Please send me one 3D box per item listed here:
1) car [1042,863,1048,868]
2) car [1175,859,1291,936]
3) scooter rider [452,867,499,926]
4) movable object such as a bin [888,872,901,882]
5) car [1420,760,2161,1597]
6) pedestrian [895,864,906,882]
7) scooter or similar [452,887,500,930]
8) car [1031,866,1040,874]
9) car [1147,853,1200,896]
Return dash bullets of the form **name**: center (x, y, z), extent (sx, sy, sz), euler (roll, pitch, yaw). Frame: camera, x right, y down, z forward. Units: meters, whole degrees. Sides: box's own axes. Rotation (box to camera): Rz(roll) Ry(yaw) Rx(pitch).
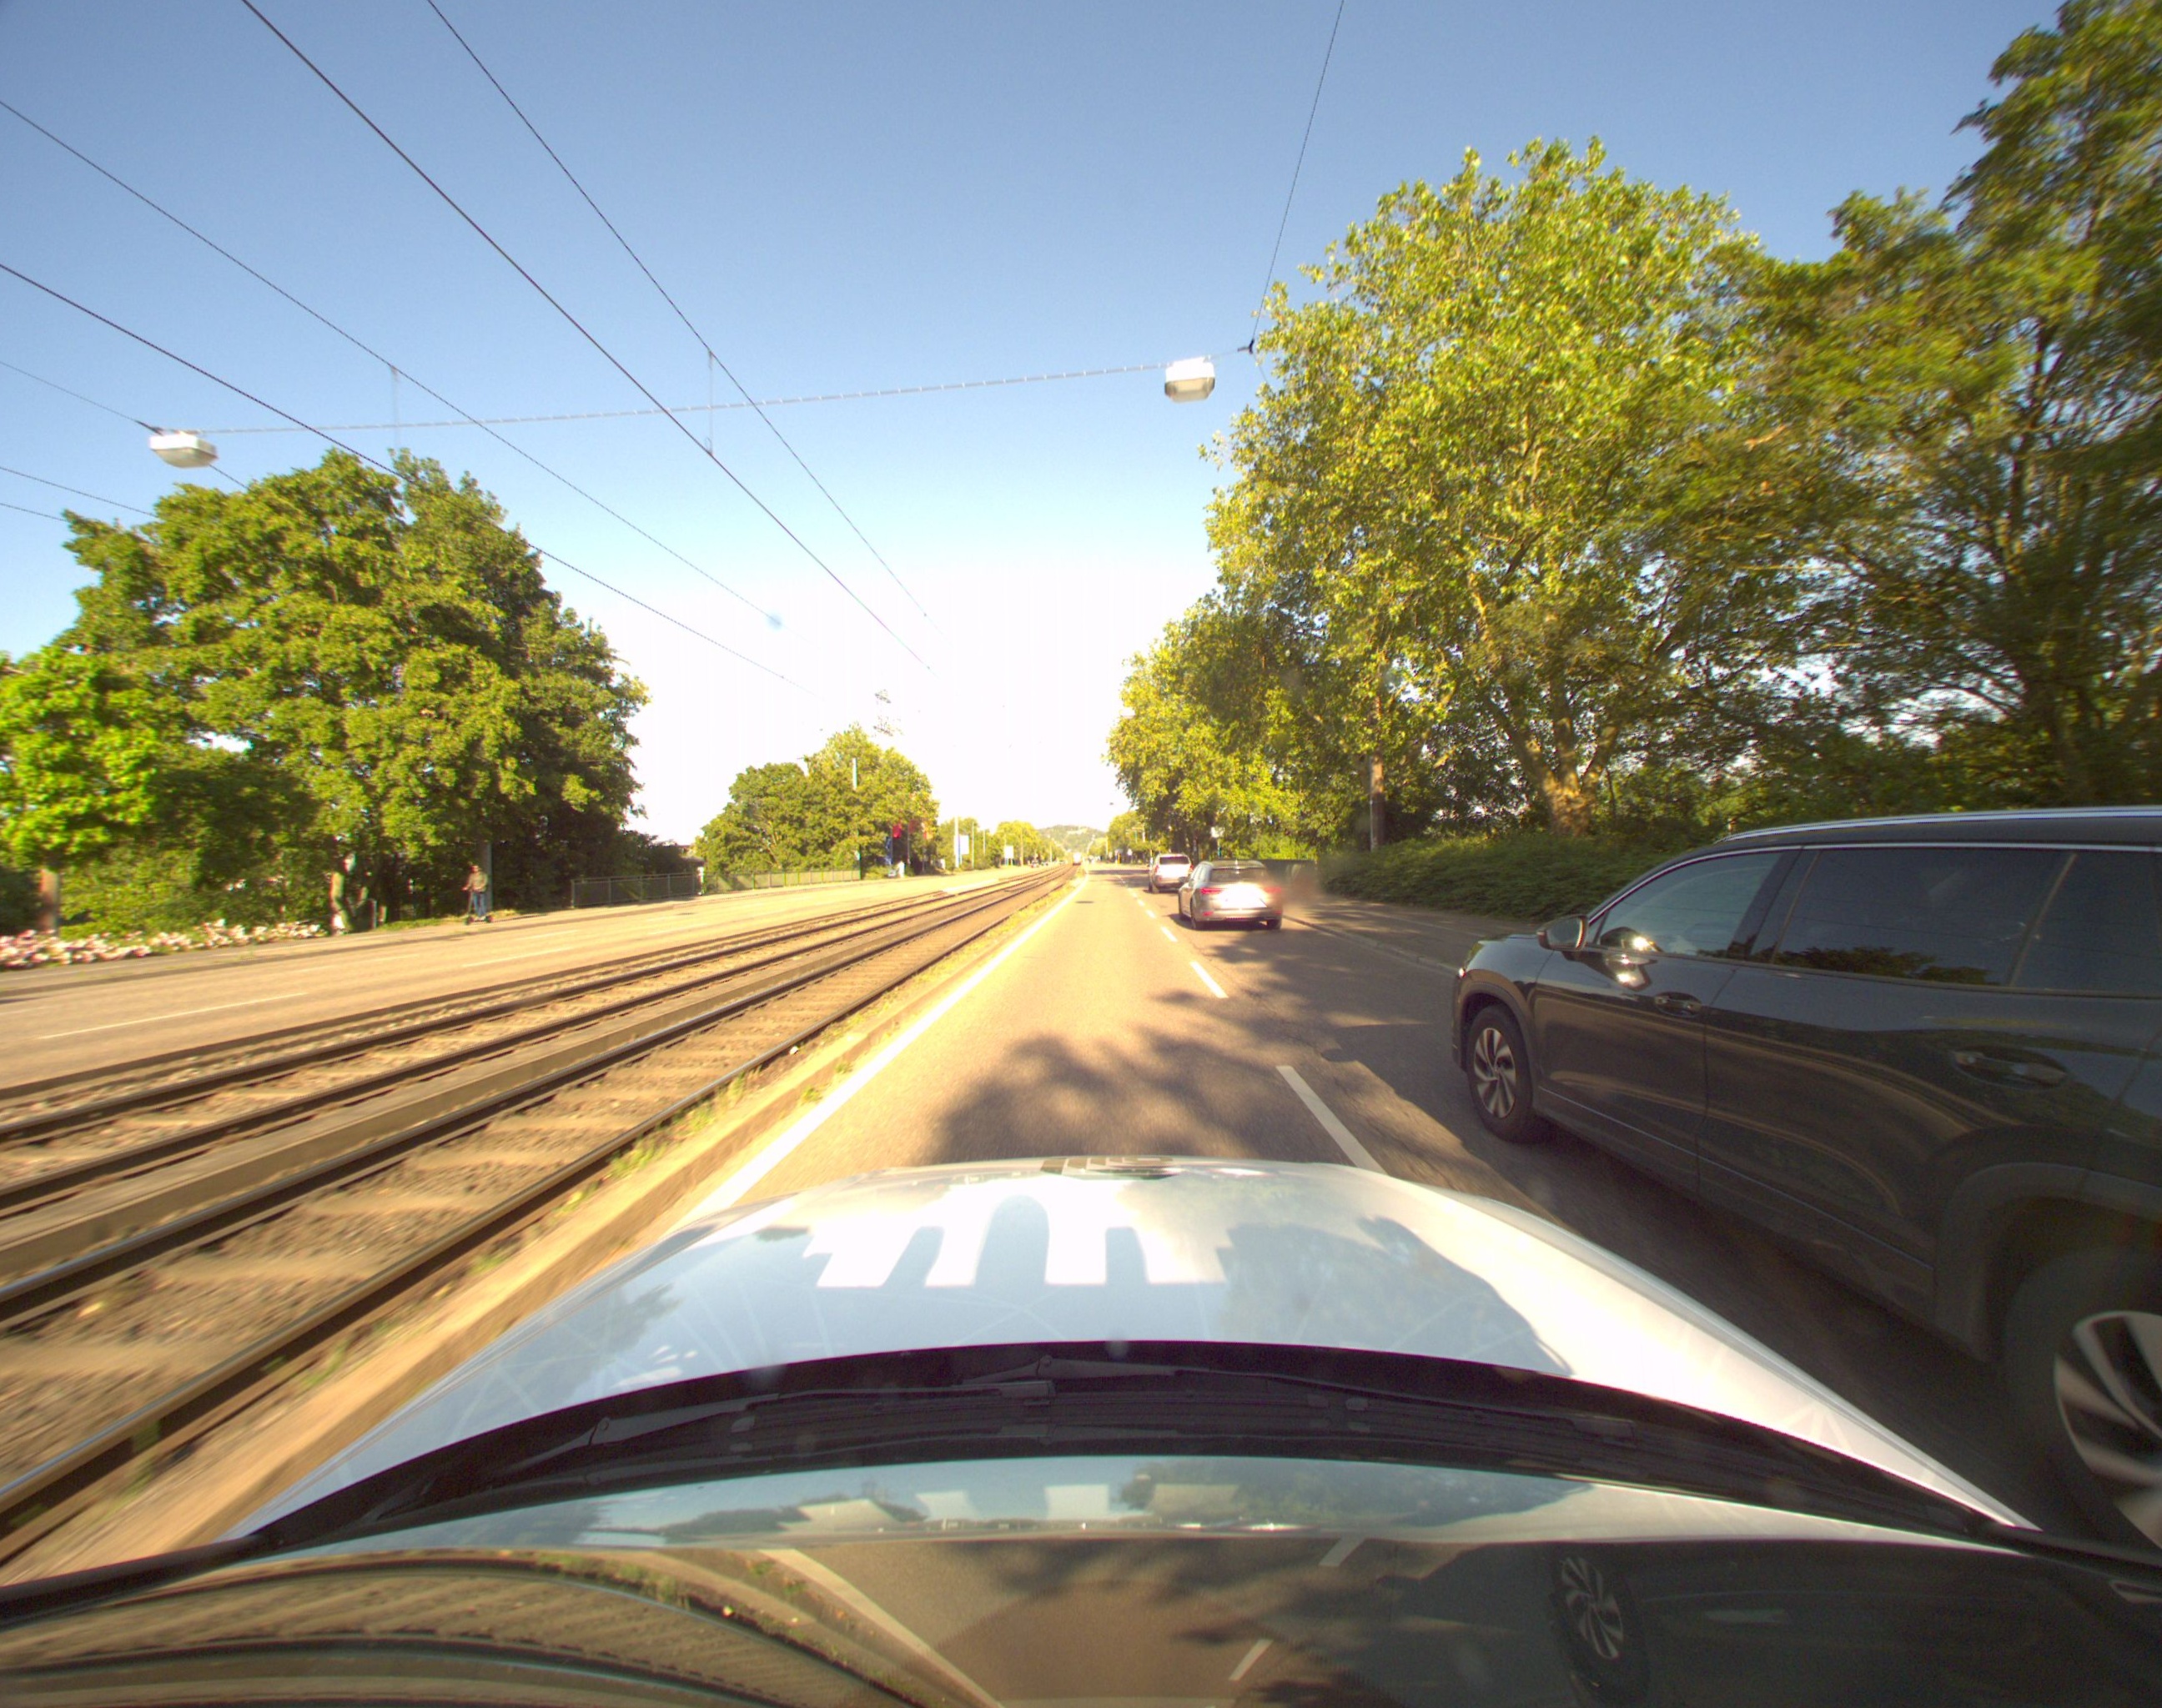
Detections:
- **car**: center (-11.080, 3.570, 251.230), extent (1.900, 1.644, 3.997), euler (1, 0, -2)
- **car**: center (3.259, 0.882, 18.347), extent (1.859, 1.467, 4.667), euler (-1, -1, 2)
- **scooter rider**: center (-19.561, 1.347, 26.321), extent (0.678, 1.848, 1.003), euler (-2, -1, 9)
- **movable object such as a bin**: center (-18.210, 2.219, 79.552), extent (0.718, 0.961, 1.107), euler (1, -2, 23)
- **car**: center (3.068, 0.630, 2.970), extent (1.838, 1.661, 4.440), euler (-1, 0, 1)
- **pedestrian**: center (-17.827, 1.839, 80.458), extent (0.718, 1.756, 0.840), euler (1, -2, 23)
- **scooter or similar**: center (-19.522, 1.746, 26.304), extent (0.469, 1.296, 1.265), euler (-2, -1, 8)
- **car**: center (-10.567, 3.603, 188.396), extent (1.856, 1.720, 4.000), euler (-1, 0, 1)
- **car**: center (4.001, 0.850, 35.866), extent (1.877, 1.796, 4.000), euler (1, 0, 0)
